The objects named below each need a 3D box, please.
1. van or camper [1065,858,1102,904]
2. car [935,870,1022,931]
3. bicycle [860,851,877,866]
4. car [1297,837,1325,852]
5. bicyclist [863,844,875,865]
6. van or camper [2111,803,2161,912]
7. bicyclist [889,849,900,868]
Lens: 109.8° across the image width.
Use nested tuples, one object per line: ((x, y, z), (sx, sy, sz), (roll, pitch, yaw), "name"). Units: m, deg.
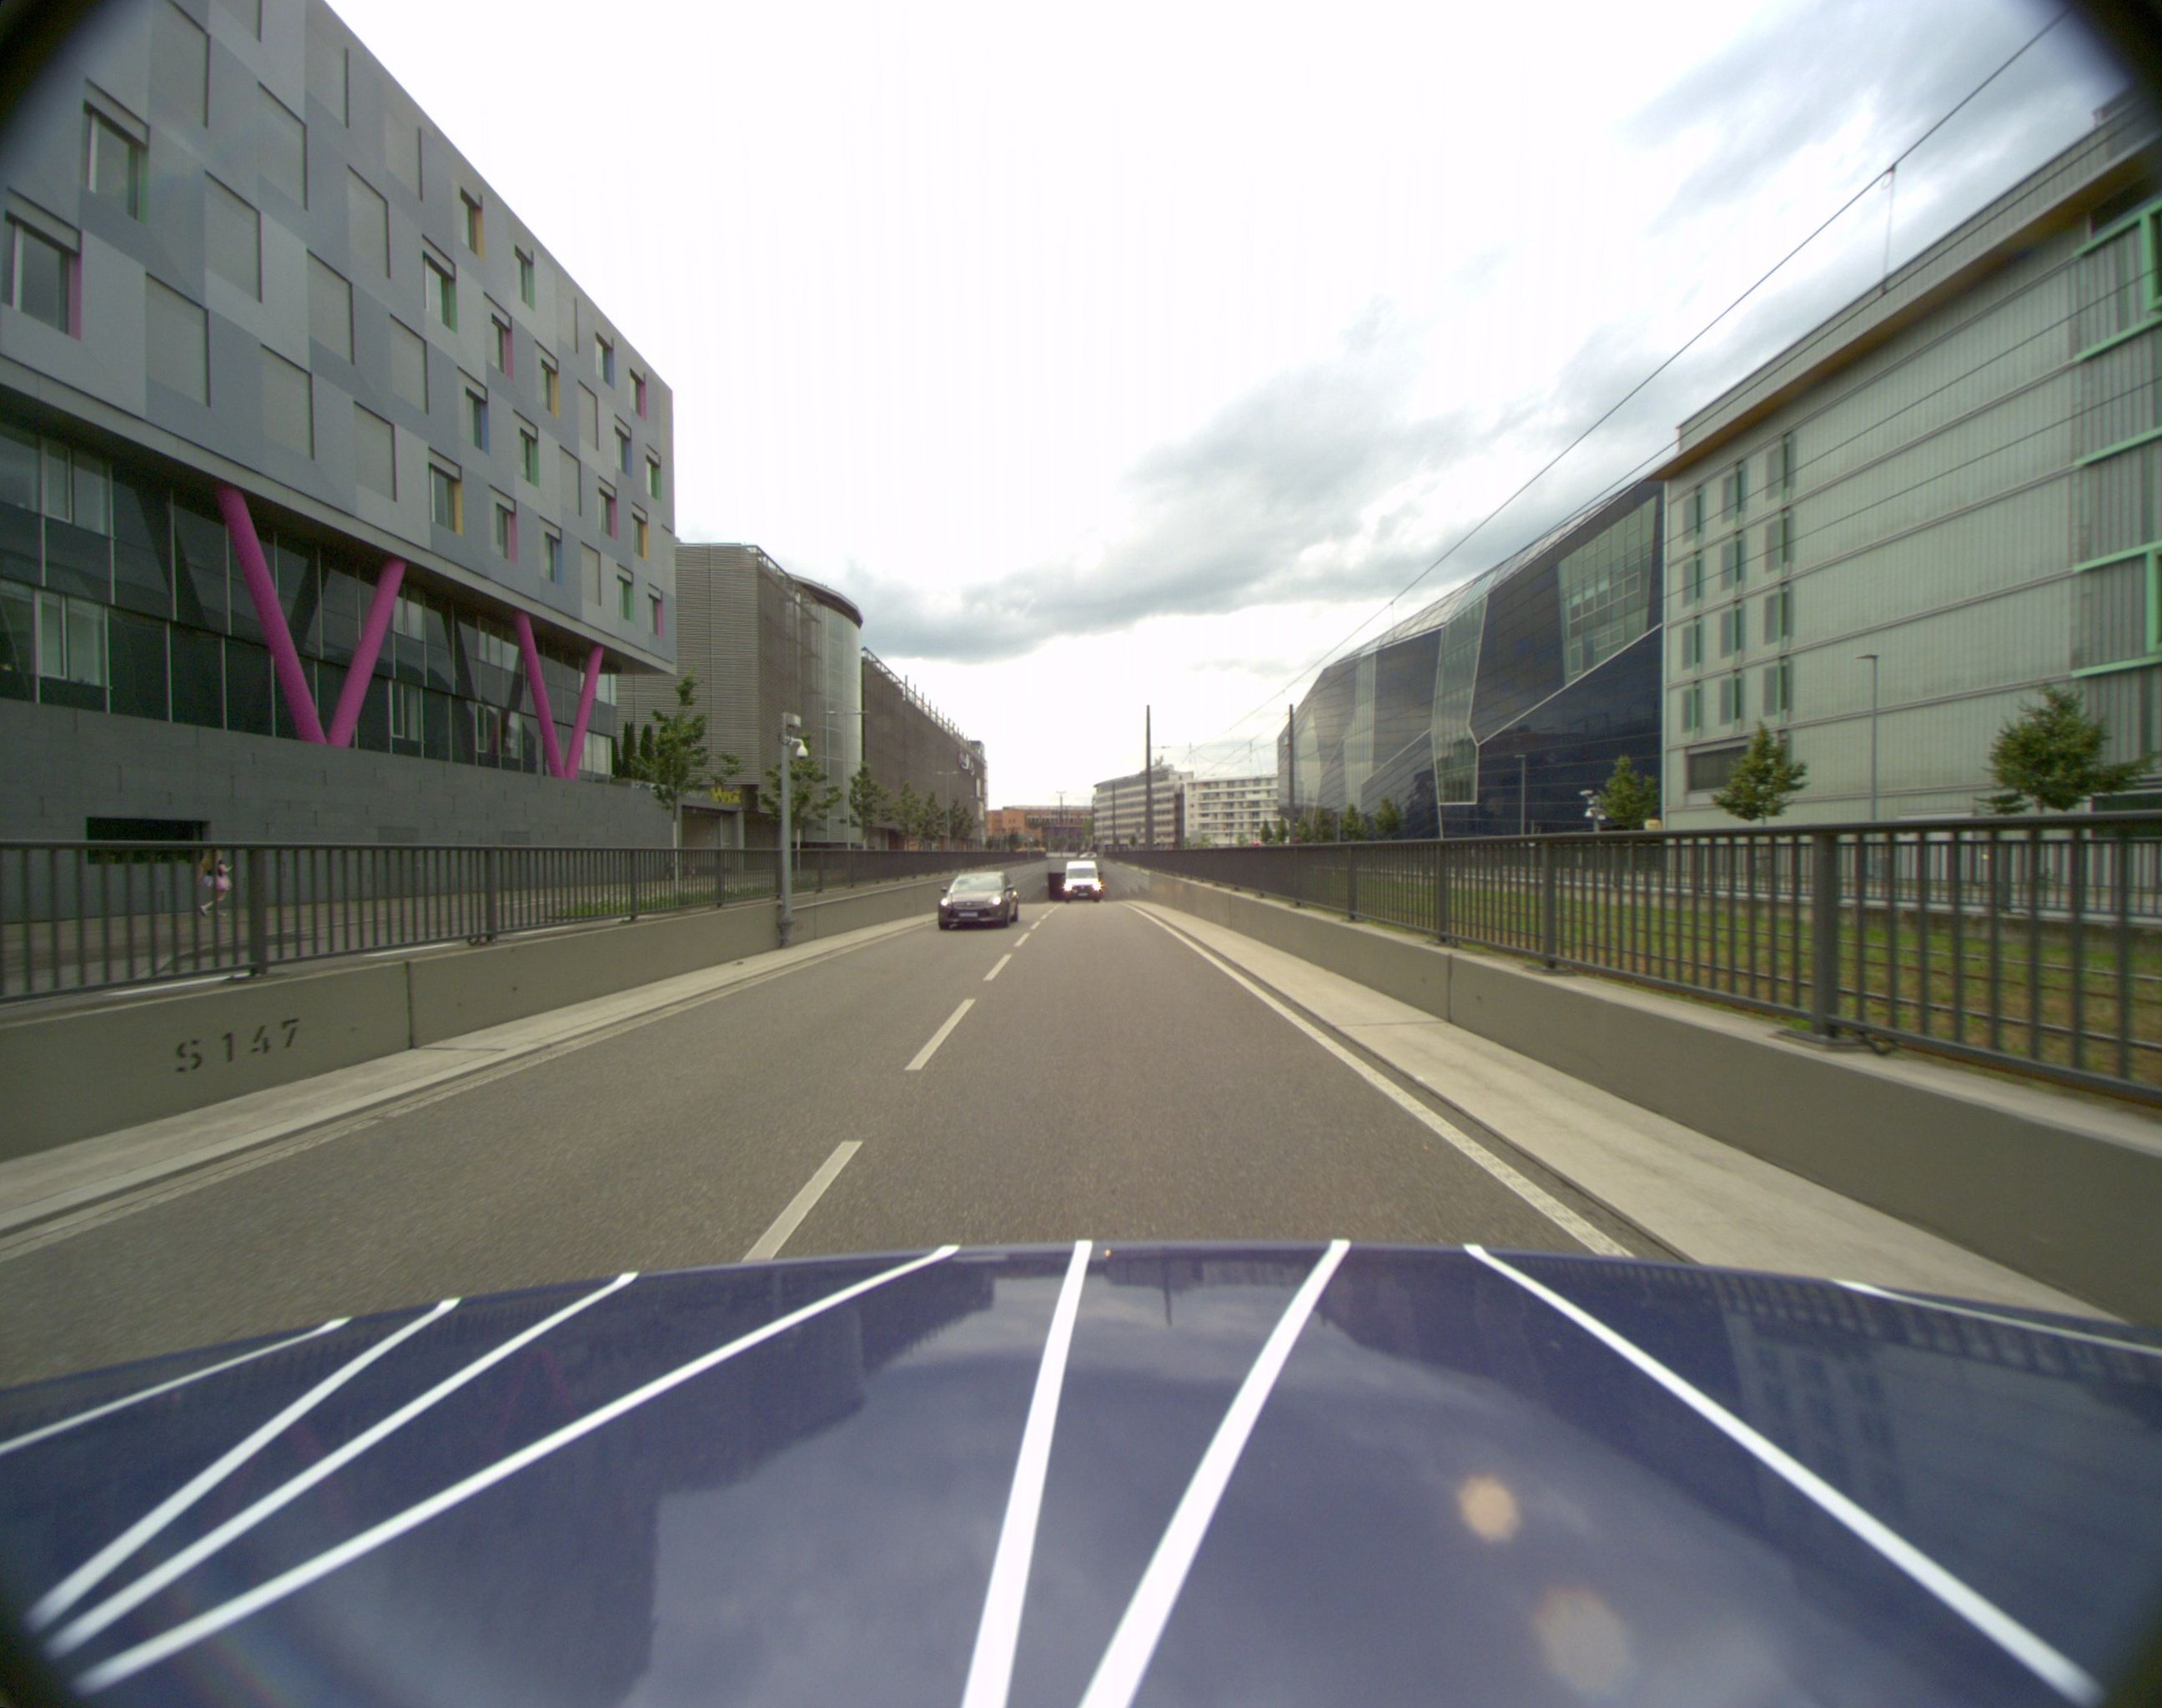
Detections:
((0.151, 1.708, 46.445), (2.043, 2.570, 5.045), (-1, -4, 0), "van or camper")
((-2.705, 1.232, 20.952), (1.752, 1.490, 4.270), (-1, -2, 1), "car")
((-18.241, 0.399, 65.213), (0.801, 1.151, 2.346), (-2, -3, 0), "bicycle")
((26.247, -1.048, 86.879), (1.998, 1.583, 4.768), (-1, -1, 3), "car")
((-18.240, 0.028, 65.313), (0.784, 1.791, 0.705), (-2, -3, 0), "bicyclist")
((23.487, 0.044, 13.290), (2.178, 2.273, 6.506), (-2, 0, 1), "van or camper")
((-17.924, 0.453, 73.052), (0.784, 1.792, 0.705), (-2, 0, 0), "bicyclist")
